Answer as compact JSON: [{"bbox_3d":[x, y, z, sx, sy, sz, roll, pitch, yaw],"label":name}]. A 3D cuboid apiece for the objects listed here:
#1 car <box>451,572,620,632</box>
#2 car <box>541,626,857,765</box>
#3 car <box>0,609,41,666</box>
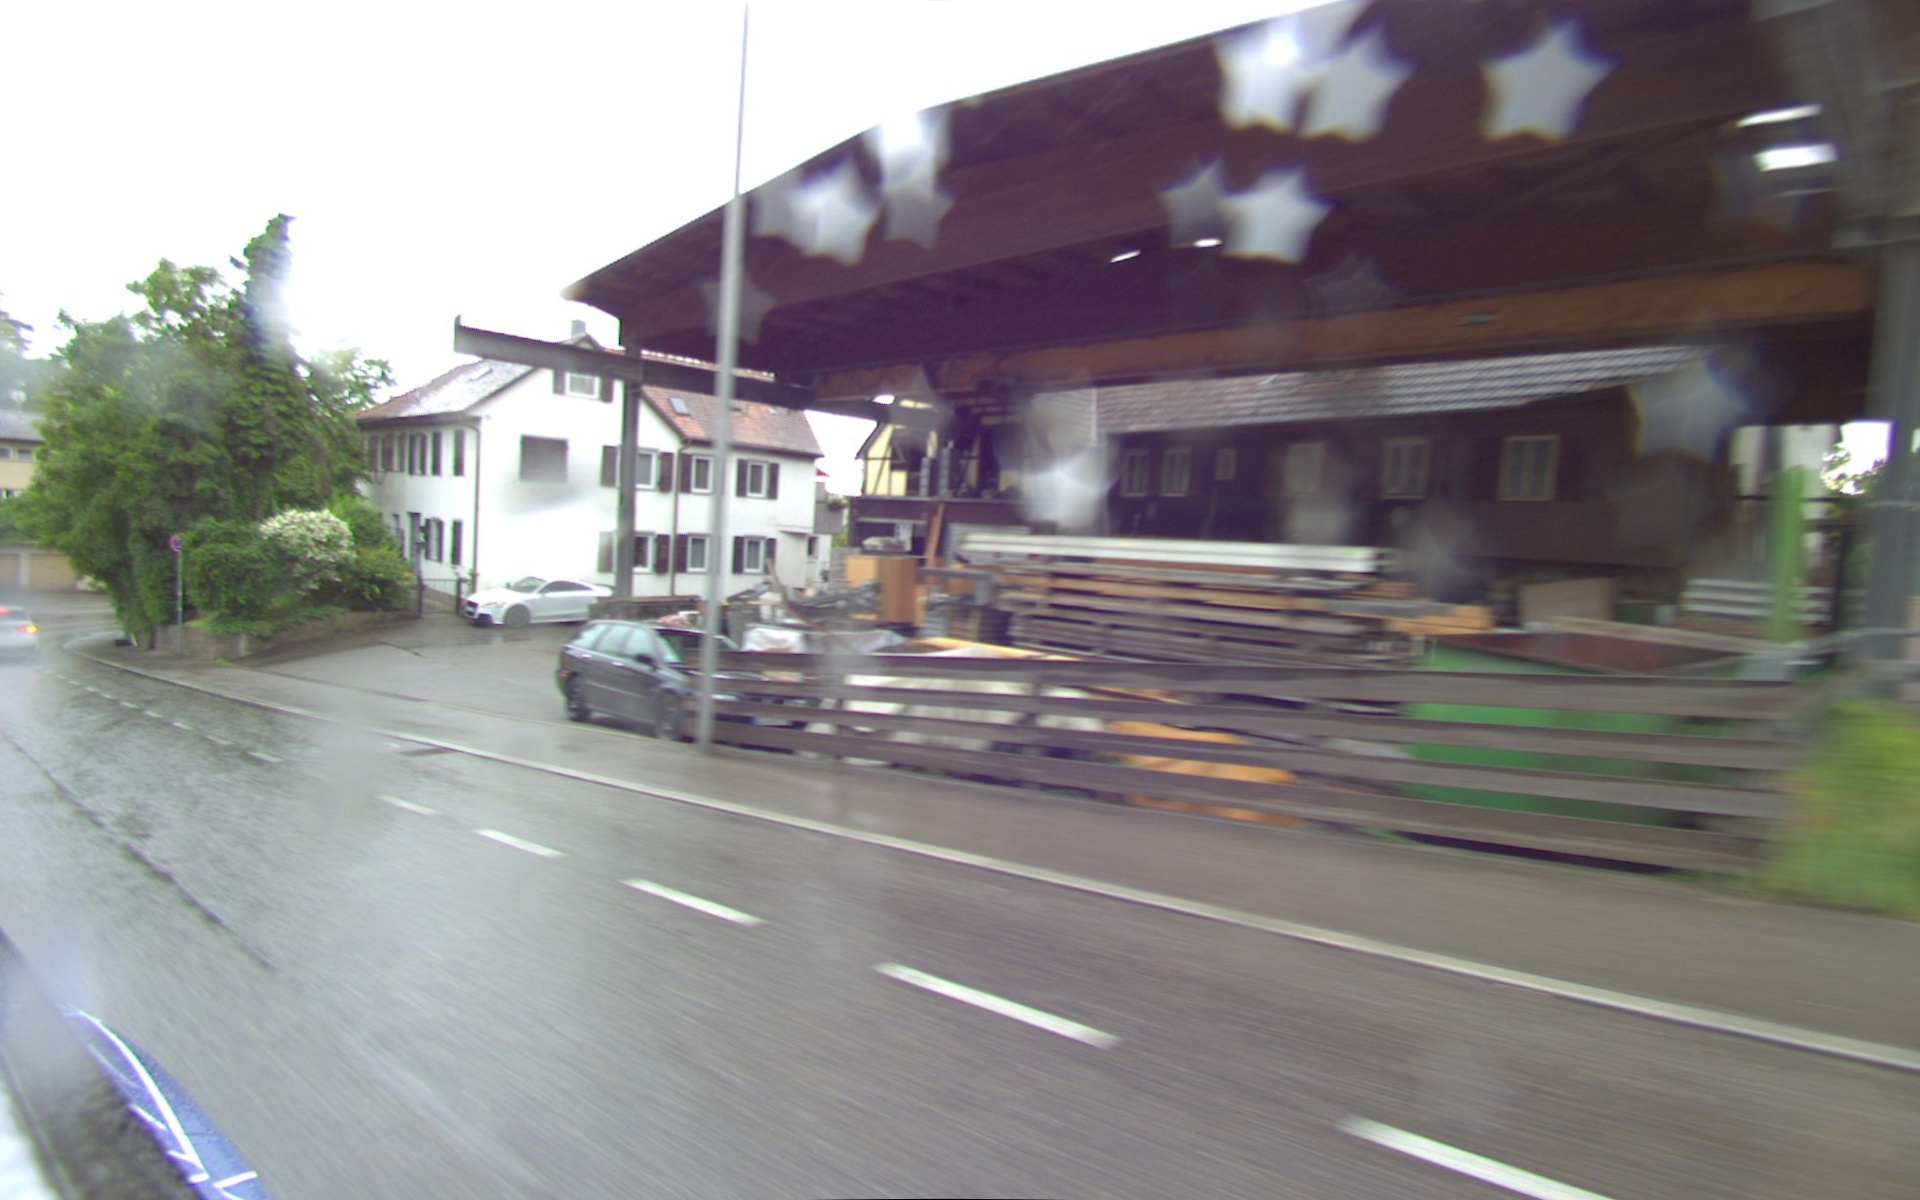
[{"bbox_3d":[-11.736,0.060,28.147,1.804,1.519,3.943,3,1,43],"label":"car"},{"bbox_3d":[-3.482,1.091,12.998,4.447,1.452,1.873,-1,-3,44],"label":"car"},{"bbox_3d":[-25.539,0.936,26.573,4.050,1.398,1.684,0,-3,43],"label":"car"}]
